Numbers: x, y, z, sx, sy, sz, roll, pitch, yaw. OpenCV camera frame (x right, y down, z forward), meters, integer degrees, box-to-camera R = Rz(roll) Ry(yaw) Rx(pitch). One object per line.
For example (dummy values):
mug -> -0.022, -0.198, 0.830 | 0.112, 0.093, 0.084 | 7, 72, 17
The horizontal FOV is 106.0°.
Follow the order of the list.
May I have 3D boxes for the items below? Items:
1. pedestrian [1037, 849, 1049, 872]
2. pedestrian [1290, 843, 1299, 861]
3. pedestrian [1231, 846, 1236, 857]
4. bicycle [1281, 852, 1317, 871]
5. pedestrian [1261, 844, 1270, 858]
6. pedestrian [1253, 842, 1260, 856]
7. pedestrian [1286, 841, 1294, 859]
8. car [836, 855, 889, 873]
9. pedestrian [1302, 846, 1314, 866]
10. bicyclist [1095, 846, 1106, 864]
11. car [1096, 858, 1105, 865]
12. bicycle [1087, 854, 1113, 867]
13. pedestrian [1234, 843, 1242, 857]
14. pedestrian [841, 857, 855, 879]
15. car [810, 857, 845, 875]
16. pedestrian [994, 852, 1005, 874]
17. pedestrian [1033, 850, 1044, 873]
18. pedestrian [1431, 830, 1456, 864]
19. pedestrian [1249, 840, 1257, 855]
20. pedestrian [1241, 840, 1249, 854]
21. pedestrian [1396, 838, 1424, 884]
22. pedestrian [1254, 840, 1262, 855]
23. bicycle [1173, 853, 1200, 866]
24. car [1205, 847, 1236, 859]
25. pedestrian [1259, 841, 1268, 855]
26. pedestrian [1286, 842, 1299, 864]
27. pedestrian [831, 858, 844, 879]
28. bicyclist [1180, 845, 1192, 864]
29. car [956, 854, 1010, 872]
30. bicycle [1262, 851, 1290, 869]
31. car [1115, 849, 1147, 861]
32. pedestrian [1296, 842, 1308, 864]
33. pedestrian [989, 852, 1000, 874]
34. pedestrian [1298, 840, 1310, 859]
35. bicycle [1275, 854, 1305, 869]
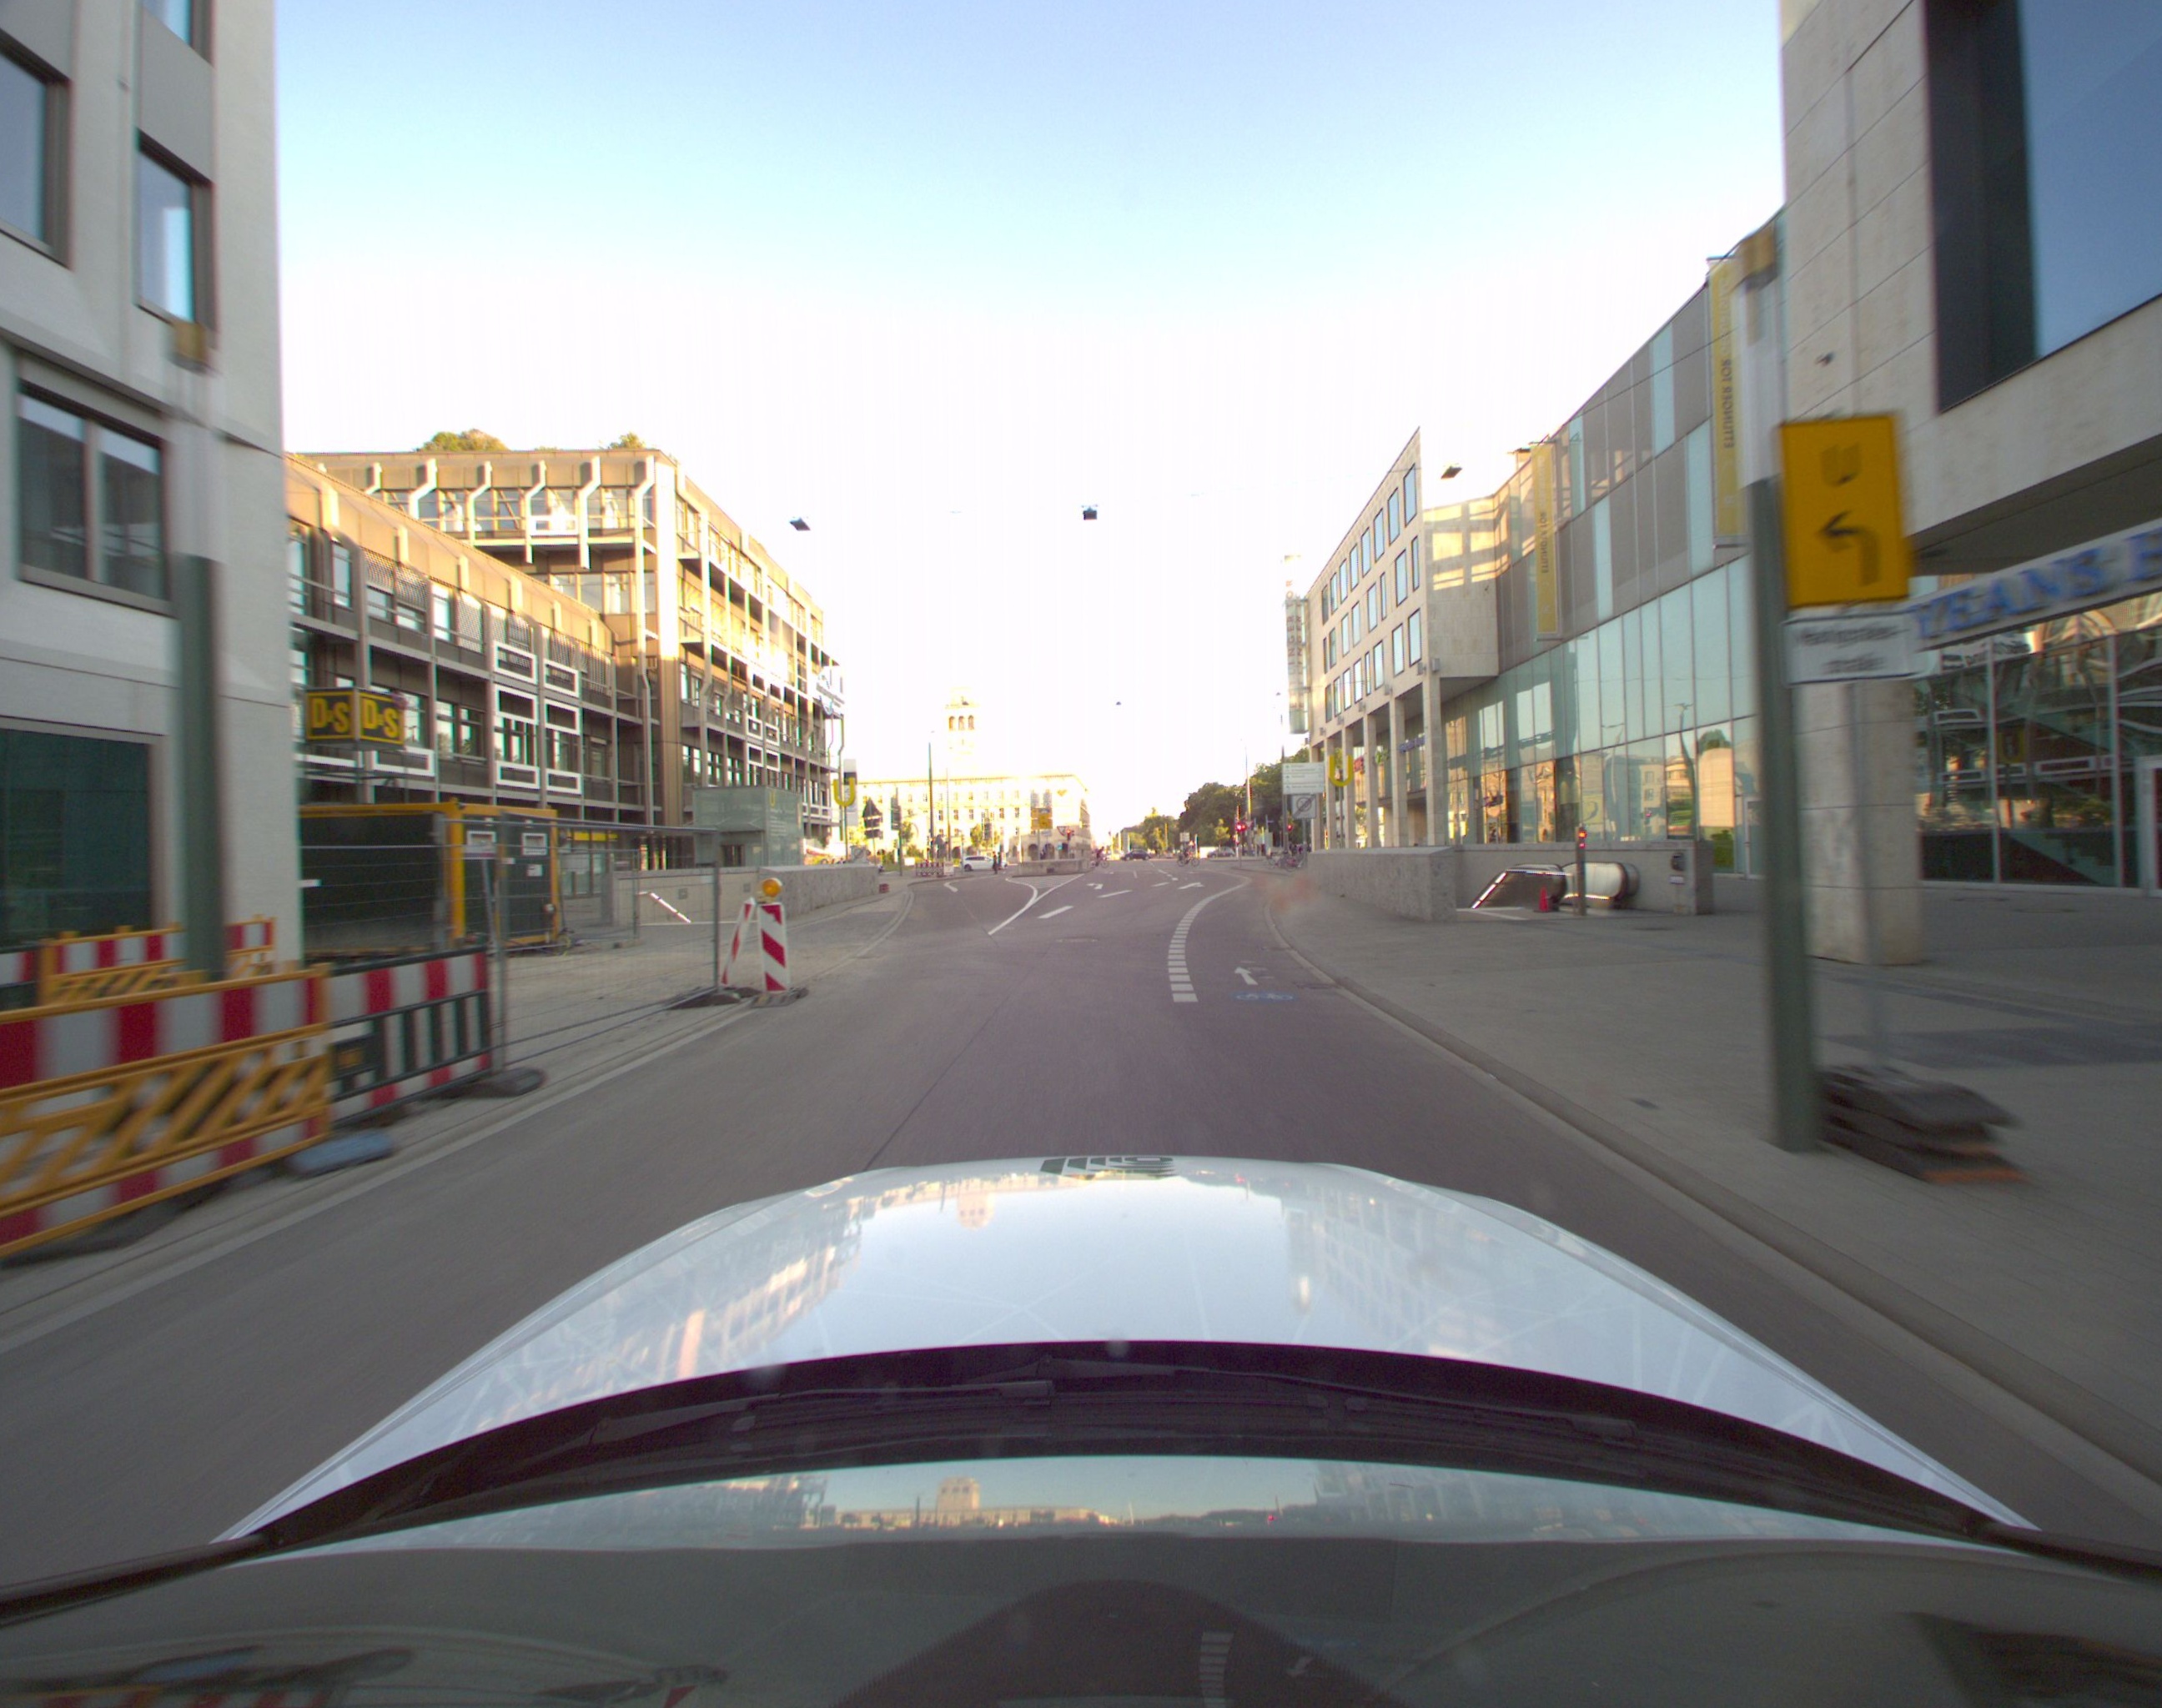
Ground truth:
pedestrian -> -2.934, 0.499, 62.595 | 0.739, 1.777, 0.860 | -3, 0, -11
pedestrian -> 21.610, -0.200, 82.344 | 0.830, 1.730, 0.690 | -2, 0, 11
pedestrian -> 25.818, -0.428, 137.879 | 0.805, 1.730, 0.929 | -2, 0, 2
bicycle -> 12.264, 0.395, 45.817 | 1.887, 1.047, 0.572 | 1, 0, 8
pedestrian -> 22.942, -0.402, 101.109 | 0.688, 1.730, 0.805 | -2, 0, -23
pedestrian -> 21.566, -0.599, 99.974 | 0.802, 1.730, 0.691 | -2, 0, 16
pedestrian -> 20.562, -0.370, 80.138 | 0.688, 1.730, 0.742 | -2, 0, 5
car -> -20.924, 0.951, 78.030 | 4.450, 1.496, 2.126 | -2, 0, -3
pedestrian -> 20.396, 0.154, 73.078 | 0.888, 1.730, 0.689 | -2, 0, 6
bicyclist -> 1.667, 0.125, 70.694 | 0.875, 1.531, 0.654 | -2, 0, 5
car -> 5.050, 1.953, 212.606 | 1.984, 1.519, 4.006 | -2, 0, 5
bicycle -> 1.665, 0.579, 70.690 | 2.231, 1.062, 0.654 | -2, 0, 4
pedestrian -> 19.275, -0.527, 99.864 | 0.805, 1.730, 0.688 | -2, 0, 2
pedestrian -> -19.750, 1.201, 69.016 | 0.744, 1.777, 0.854 | -4, 0, -33
car -> -25.711, 1.198, 82.652 | 3.132, 1.685, 1.606 | -2, 0, -11
pedestrian -> -6.698, 0.719, 66.910 | 0.736, 1.777, 0.863 | -4, 0, 1
pedestrian -> -3.317, 0.586, 63.534 | 0.739, 1.777, 0.859 | -1, 0, -15
pedestrian -> 19.558, -0.364, 43.948 | 0.857, 1.777, 0.991 | -3, 0, 2
pedestrian -> 21.303, -0.814, 100.765 | 0.802, 1.730, 0.691 | -2, 0, 16
pedestrian -> 20.099, -0.846, 99.919 | 0.805, 1.730, 0.688 | -2, 0, 2
pedestrian -> 12.761, 0.281, 31.633 | 0.830, 1.735, 0.822 | -2, 0, 11
pedestrian -> 22.056, -0.814, 101.452 | 0.800, 1.730, 0.692 | -2, 0, 39
bicycle -> 9.112, 0.461, 70.468 | 2.231, 1.062, 0.654 | -2, 0, 4
car -> 18.361, -0.178, 107.280 | 3.706, 1.453, 1.544 | -2, 0, -3
pedestrian -> 22.380, -0.747, 99.917 | 0.811, 1.730, 0.683 | -2, 0, -20
pedestrian -> 17.838, -0.069, 68.677 | 0.857, 1.777, 0.741 | -4, 0, 4
pedestrian -> -20.597, 1.234, 68.874 | 0.744, 1.777, 0.854 | -4, 0, -33
bicyclist -> 9.073, 0.019, 70.473 | 1.015, 1.621, 0.654 | -2, 0, 5
car -> -9.309, 0.820, 77.459 | 4.777, 1.496, 2.129 | -2, 0, 2
bicycle -> 13.310, 0.397, 55.598 | 1.802, 1.212, 0.573 | -2, 0, 19
car -> 6.523, 0.145, 105.847 | 3.969, 1.494, 1.830 | -2, 0, 4
pedestrian -> 18.623, -0.058, 68.598 | 0.752, 1.777, 0.742 | -4, 0, 4
pedestrian -> -7.009, 0.727, 66.008 | 0.736, 1.777, 0.863 | -4, 0, 1
pedestrian -> 20.514, -0.400, 74.987 | 0.888, 1.730, 0.689 | -2, 0, 6
bicycle -> 14.149, 0.522, 55.165 | 1.860, 0.936, 0.517 | -2, 0, 1
